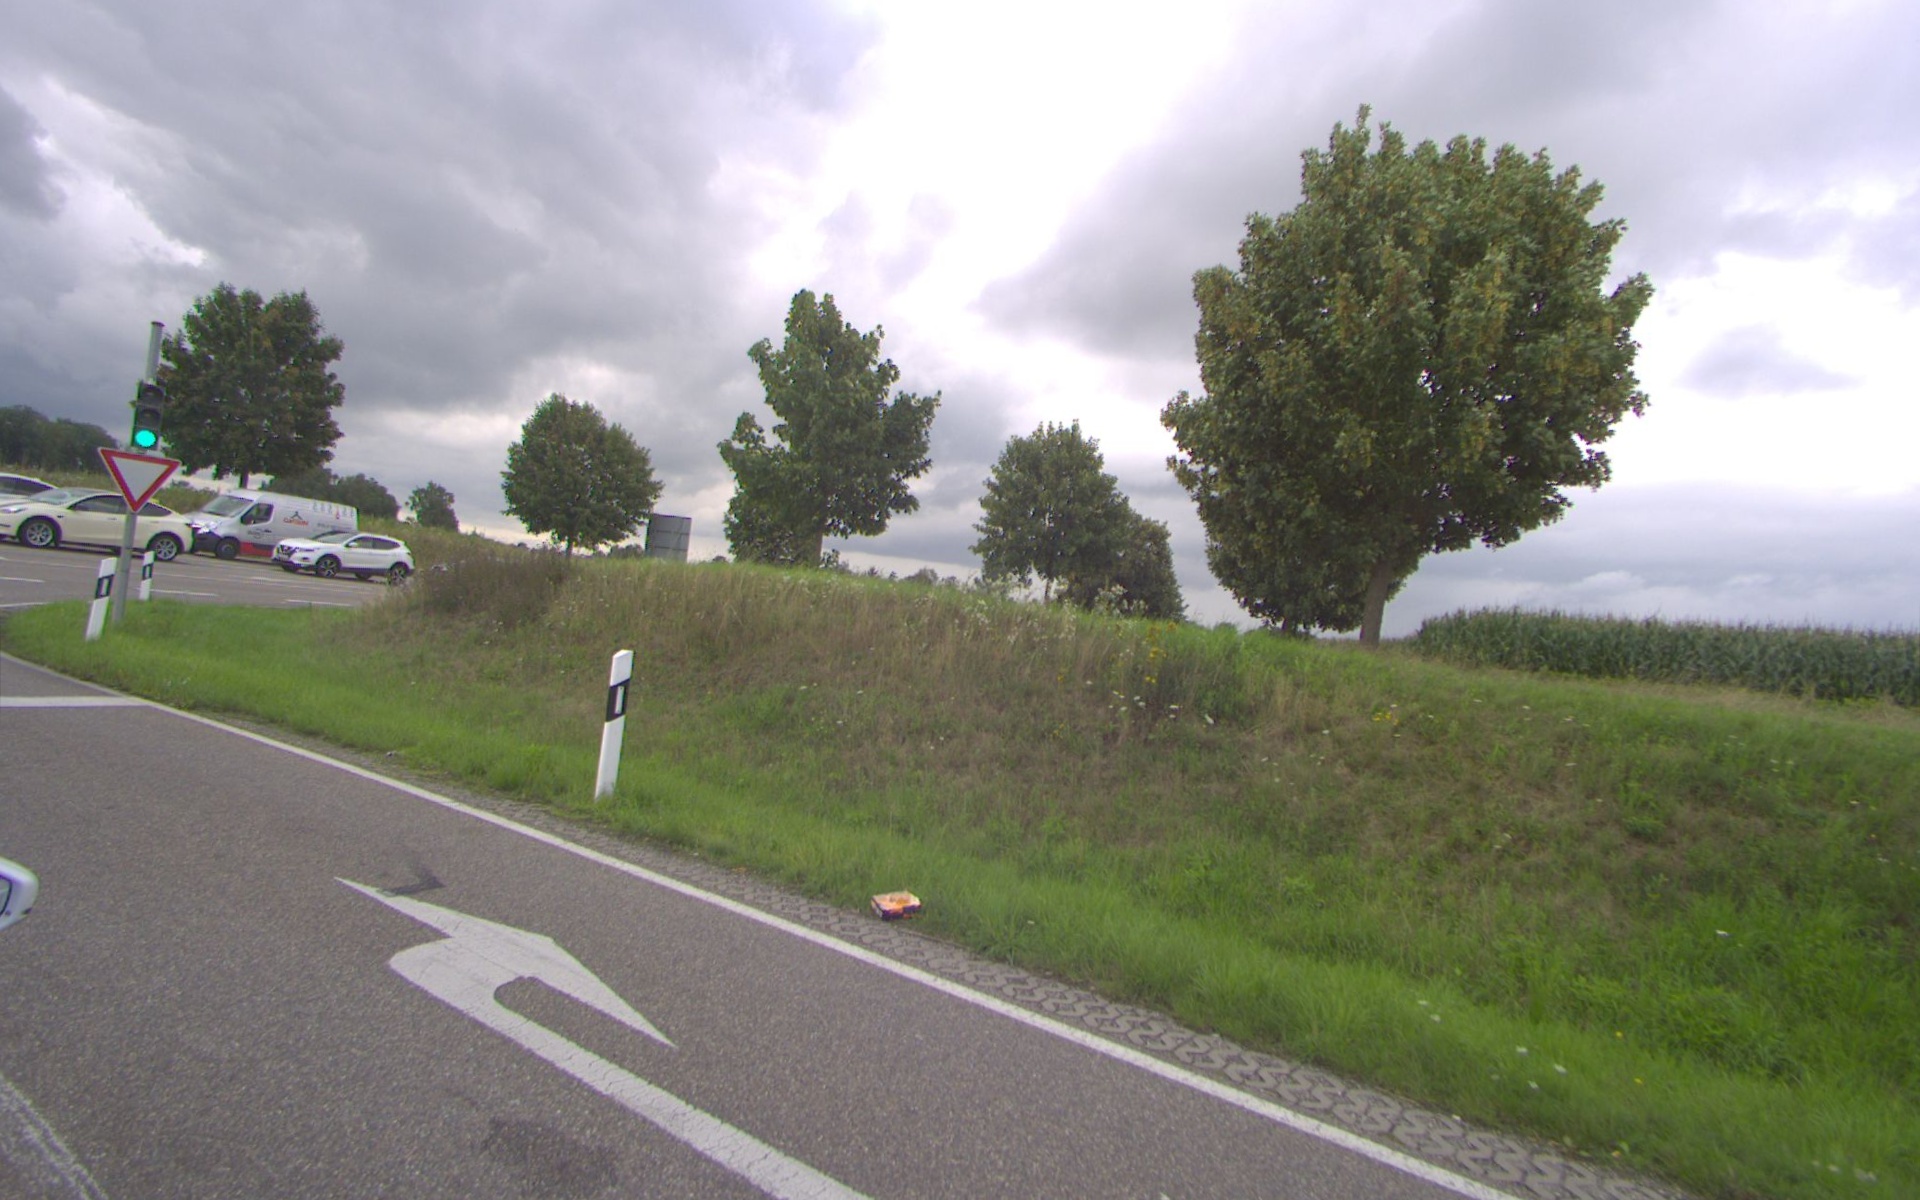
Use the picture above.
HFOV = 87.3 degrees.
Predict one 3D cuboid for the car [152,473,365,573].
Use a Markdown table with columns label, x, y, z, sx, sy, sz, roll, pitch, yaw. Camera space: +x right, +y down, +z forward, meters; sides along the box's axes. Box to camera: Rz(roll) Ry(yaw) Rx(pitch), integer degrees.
| label | x | y | z | sx | sy | sz | roll | pitch | yaw |
| --- | --- | --- | --- | --- | --- | --- | --- | --- | --- |
| car | -24.068 | -2.563 | 34.844 | 2.353 | 2.470 | 5.517 | 7 | -2 | 19 |

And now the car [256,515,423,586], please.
| label | x | y | z | sx | sy | sz | roll | pitch | yaw |
| --- | --- | --- | --- | --- | --- | --- | --- | --- | --- |
| car | -20.401 | -1.581 | 33.294 | 1.963 | 1.648 | 4.326 | 7 | -2 | 19 |

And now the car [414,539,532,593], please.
| label | x | y | z | sx | sy | sz | roll | pitch | yaw |
| --- | --- | --- | --- | --- | --- | --- | --- | --- | --- |
| car | -20.636 | -1.397 | 42.826 | 1.962 | 1.648 | 4.278 | 7 | -2 | 19 |

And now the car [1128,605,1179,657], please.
| label | x | y | z | sx | sy | sz | roll | pitch | yaw |
| --- | --- | --- | --- | --- | --- | --- | --- | --- | --- |
| car | 8.801 | 1.444 | 45.853 | 1.962 | 2.037 | 4.005 | 7 | -2 | 11 |

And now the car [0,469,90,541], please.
| label | x | y | z | sx | sy | sz | roll | pitch | yaw |
| --- | --- | --- | --- | --- | --- | --- | --- | --- | --- |
| car | -26.376 | -2.762 | 26.837 | 1.962 | 1.648 | 4.278 | 7 | -2 | 18 |

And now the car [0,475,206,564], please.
| label | x | y | z | sx | sy | sz | roll | pitch | yaw |
| --- | --- | --- | --- | --- | --- | --- | --- | --- | --- |
| car | -22.665 | -2.081 | 25.968 | 1.962 | 1.583 | 4.752 | 7 | -2 | 18 |

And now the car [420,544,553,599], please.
| label | x | y | z | sx | sy | sz | roll | pitch | yaw |
| --- | --- | --- | --- | --- | --- | --- | --- | --- | --- |
| car | -18.441 | -1.073 | 39.439 | 1.963 | 1.471 | 4.585 | 9 | -1 | 18 |
